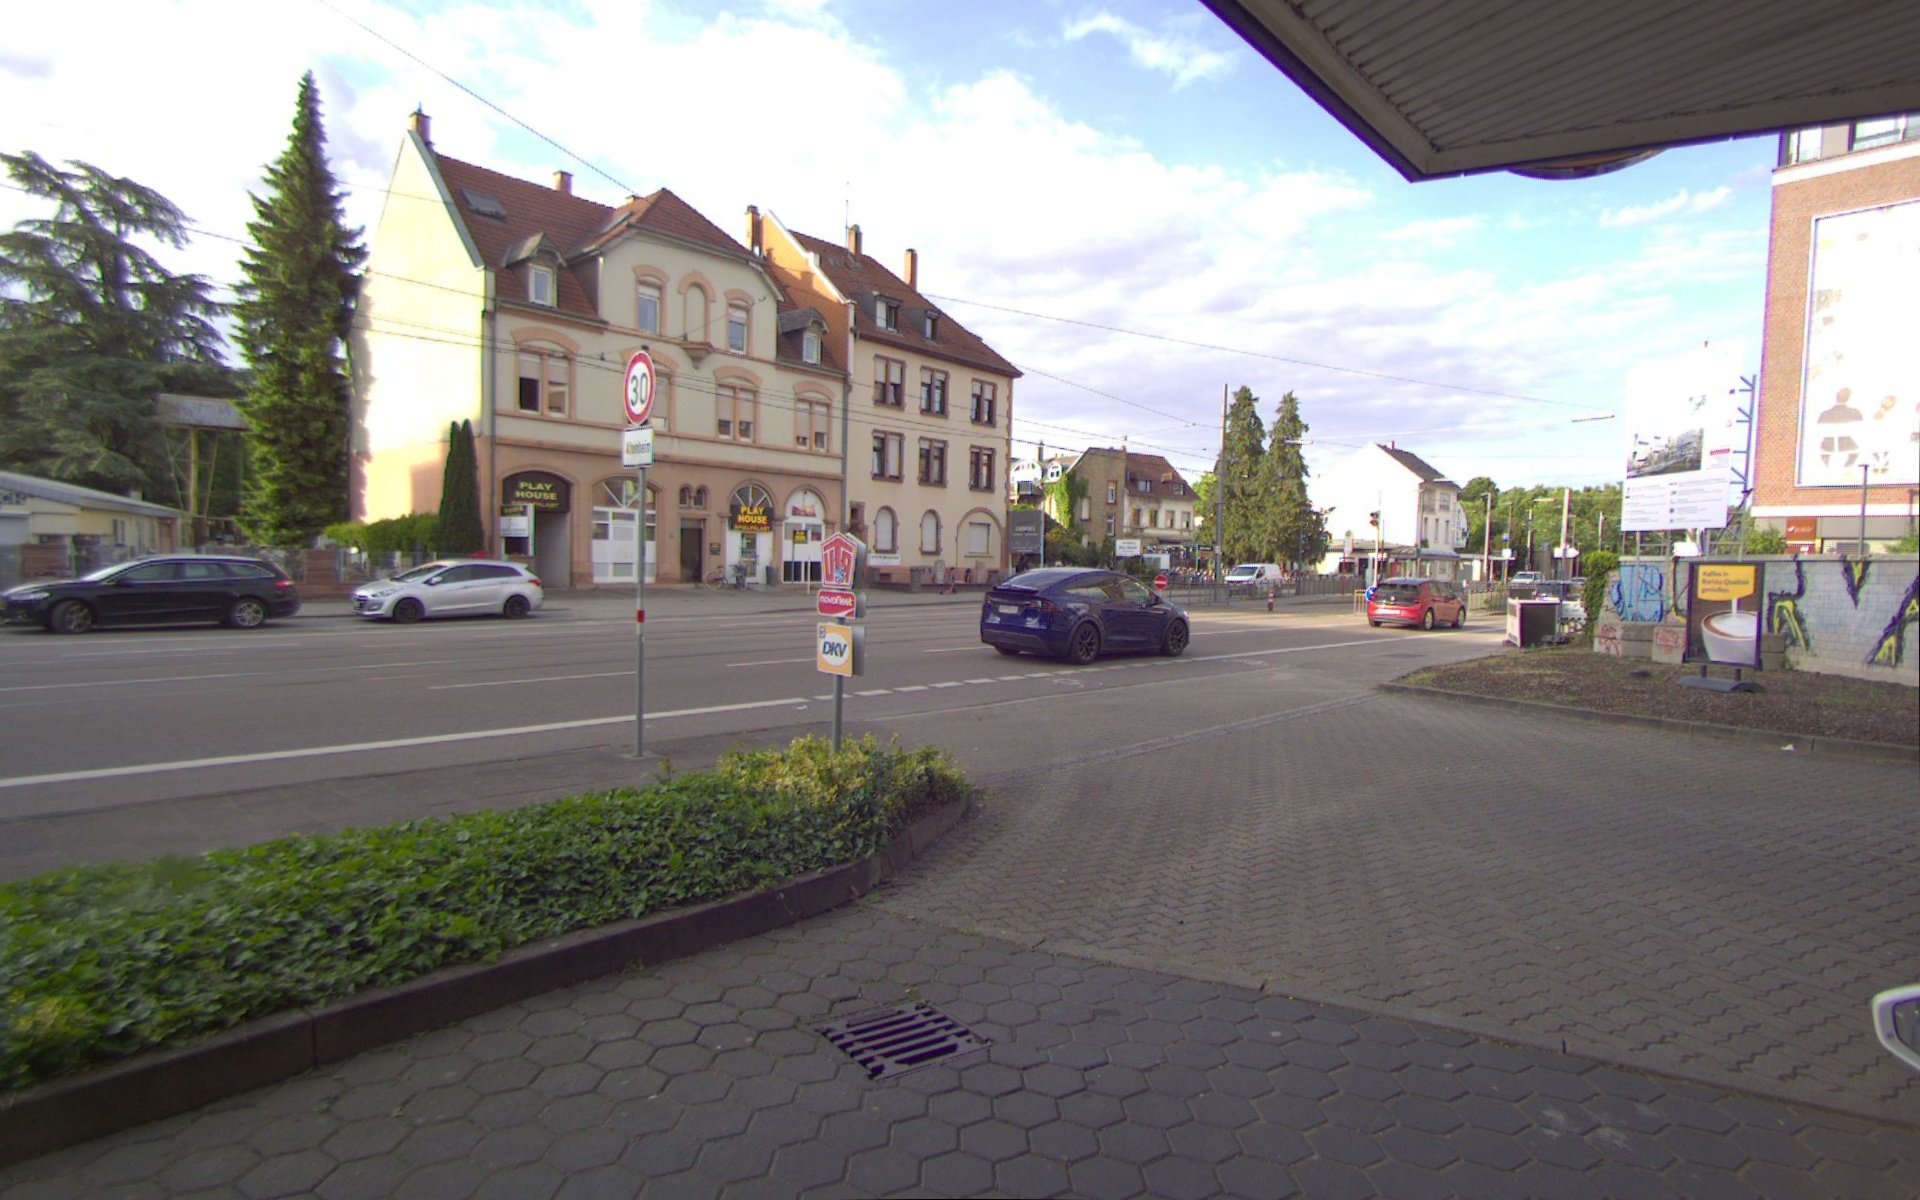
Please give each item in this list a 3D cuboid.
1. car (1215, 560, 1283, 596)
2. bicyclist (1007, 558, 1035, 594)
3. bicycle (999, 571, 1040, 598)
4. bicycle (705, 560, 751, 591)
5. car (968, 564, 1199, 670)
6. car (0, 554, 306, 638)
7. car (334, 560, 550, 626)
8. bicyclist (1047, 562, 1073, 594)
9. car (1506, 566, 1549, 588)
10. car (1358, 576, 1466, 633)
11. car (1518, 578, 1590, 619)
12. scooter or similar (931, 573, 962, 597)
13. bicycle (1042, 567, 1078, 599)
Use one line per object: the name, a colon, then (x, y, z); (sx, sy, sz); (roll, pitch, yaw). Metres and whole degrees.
car: (16.287, -1.211, 56.455); (1.939, 1.915, 4.389); (3, 2, 41)
bicyclist: (2.891, -1.137, 47.540); (0.834, 1.579, 0.959); (8, 7, 42)
bicycle: (2.828, -0.740, 47.526); (0.834, 1.219, 1.894); (8, 6, 42)
bicycle: (-9.149, -0.956, 39.711); (0.508, 1.189, 1.809); (4, 2, 40)
car: (2.456, 0.247, 18.929); (1.745, 1.679, 4.821); (5, 4, 44)
car: (-16.575, -0.148, 20.734); (1.970, 1.516, 4.801); (3, 3, 40)
car: (-13.007, -0.246, 25.466); (1.970, 1.495, 4.467); (3, 3, 40)
bicyclist: (4.841, -1.061, 48.548); (0.775, 1.512, 1.092); (6, 5, 34)
car: (53.804, -2.168, 95.268); (4.849, 1.995, 1.976); (-1, 3, -40)
car: (14.116, 0.100, 31.248); (1.745, 1.564, 4.106); (5, 4, 43)
car: (25.109, -0.100, 42.422); (1.707, 1.564, 3.976); (5, 4, 43)
scooter or similar: (-0.604, -0.693, 45.138); (0.488, 1.015, 1.592); (5, 5, 39)
bicycle: (4.827, -0.830, 48.530); (0.775, 1.512, 1.985); (6, 4, 34)
